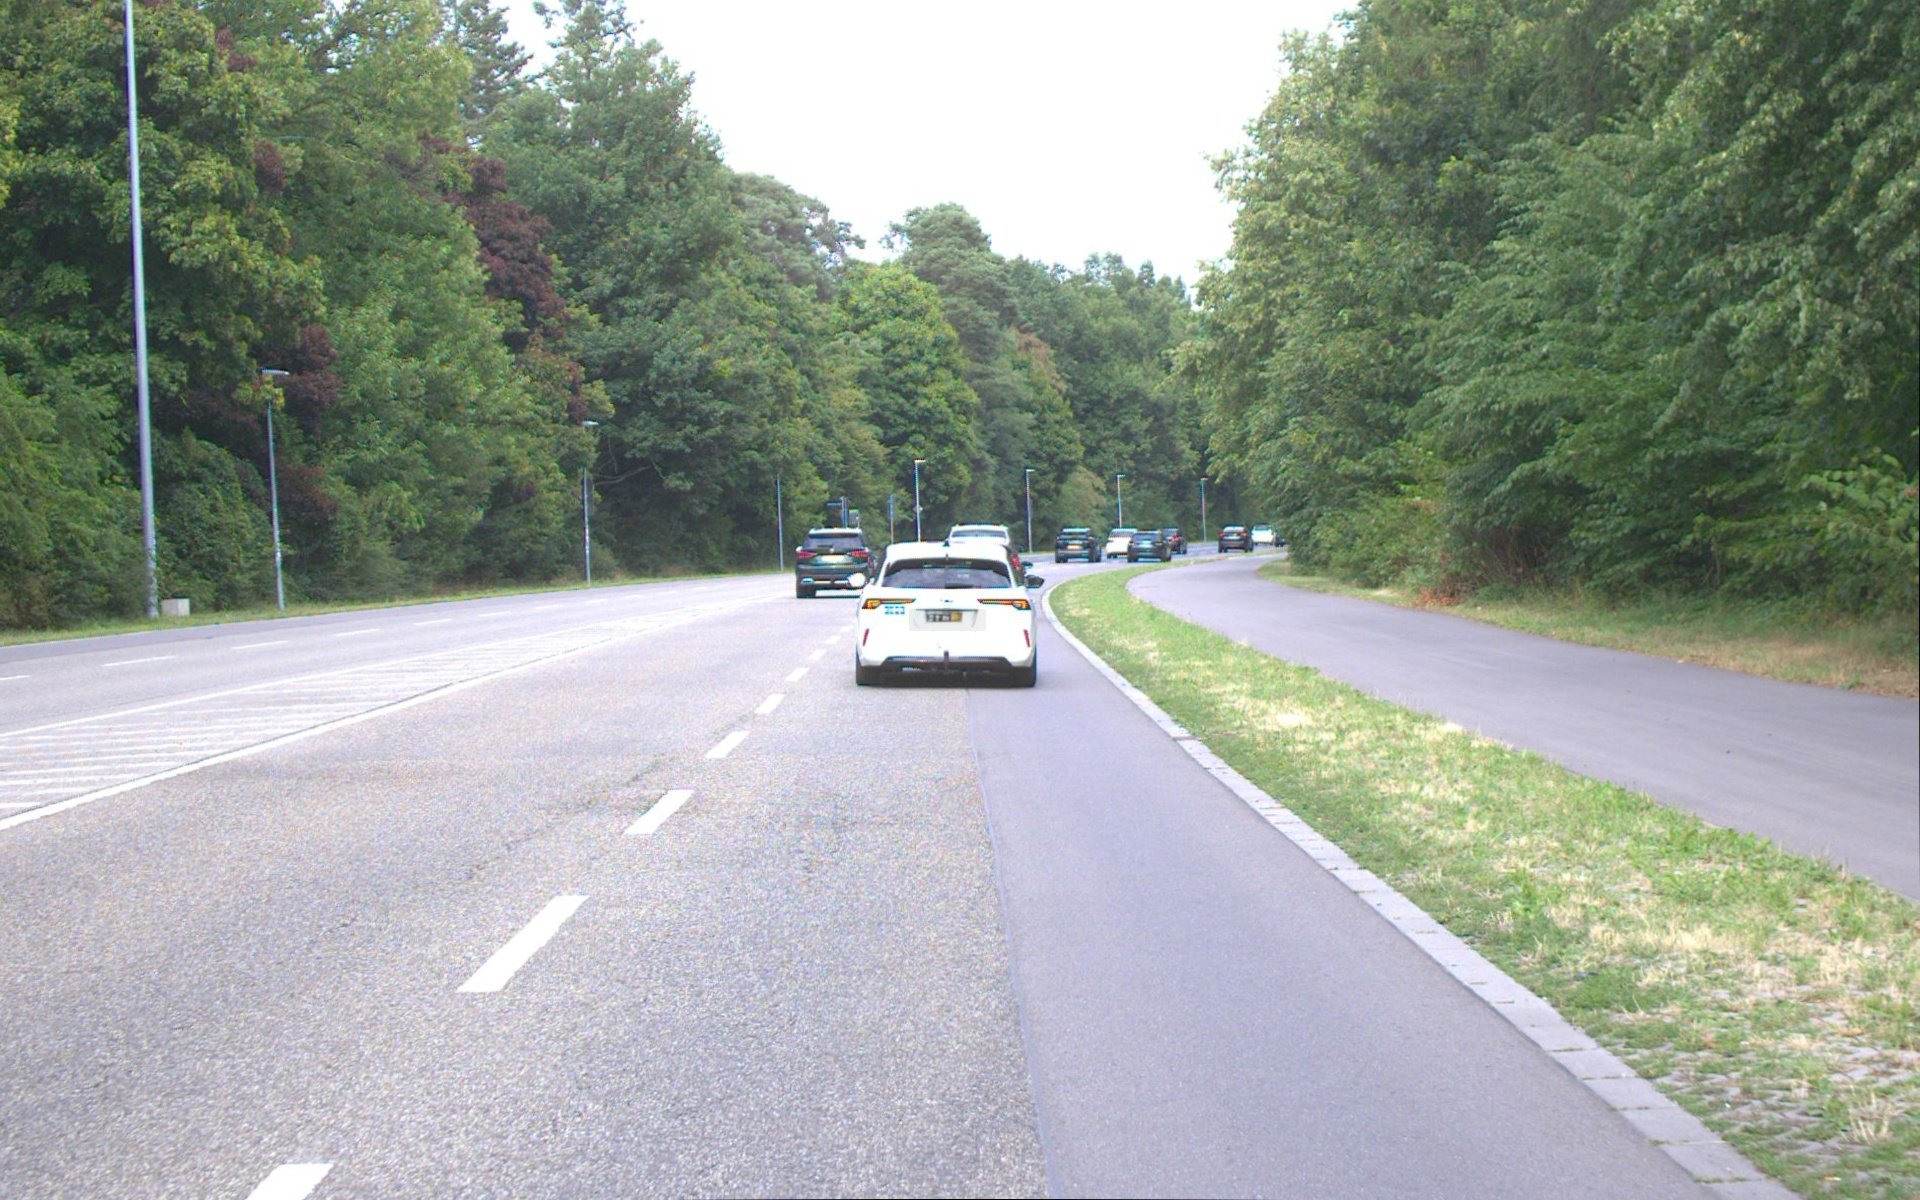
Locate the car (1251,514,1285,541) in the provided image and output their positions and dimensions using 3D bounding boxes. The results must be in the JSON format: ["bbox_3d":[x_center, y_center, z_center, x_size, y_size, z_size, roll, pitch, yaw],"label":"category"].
[{"bbox_3d":[22.074,-5.170,246.274,1.889,1.809,3.998,2,0,13],"label":"car"}]

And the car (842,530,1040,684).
[{"bbox_3d":[-0.227,0.046,34.859,1.836,1.405,4.491,2,0,-1],"label":"car"}]

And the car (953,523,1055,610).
[{"bbox_3d":[0.791,-0.580,59.626,1.635,1.415,4.000,2,0,2],"label":"car"}]

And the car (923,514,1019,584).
[{"bbox_3d":[0.291,-1.251,83.213,1.994,1.601,4.000,2,1,4],"label":"car"}]

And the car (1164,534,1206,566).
[{"bbox_3d":[13.027,-2.883,199.065,1.994,1.777,3.998,2,0,10],"label":"car"}]

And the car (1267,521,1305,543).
[{"bbox_3d":[22.042,-4.601,232.312,1.995,1.404,3.998,2,0,12],"label":"car"}]

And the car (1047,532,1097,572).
[{"bbox_3d":[5.269,-2.245,161.387,1.994,1.777,3.999,2,0,7],"label":"car"}]

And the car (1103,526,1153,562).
[{"bbox_3d":[8.827,-2.915,180.532,1.994,1.777,3.998,2,0,12],"label":"car"}]

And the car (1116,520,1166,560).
[{"bbox_3d":[8.518,-2.792,161.475,1.994,1.777,3.999,2,0,8],"label":"car"}]

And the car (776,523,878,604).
[{"bbox_3d":[-3.078,-0.845,80.329,1.994,1.780,4.000,2,0,3],"label":"car"}]

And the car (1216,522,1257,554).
[{"bbox_3d":[16.617,-3.720,206.430,1.994,1.777,3.998,2,0,10],"label":"car"}]
